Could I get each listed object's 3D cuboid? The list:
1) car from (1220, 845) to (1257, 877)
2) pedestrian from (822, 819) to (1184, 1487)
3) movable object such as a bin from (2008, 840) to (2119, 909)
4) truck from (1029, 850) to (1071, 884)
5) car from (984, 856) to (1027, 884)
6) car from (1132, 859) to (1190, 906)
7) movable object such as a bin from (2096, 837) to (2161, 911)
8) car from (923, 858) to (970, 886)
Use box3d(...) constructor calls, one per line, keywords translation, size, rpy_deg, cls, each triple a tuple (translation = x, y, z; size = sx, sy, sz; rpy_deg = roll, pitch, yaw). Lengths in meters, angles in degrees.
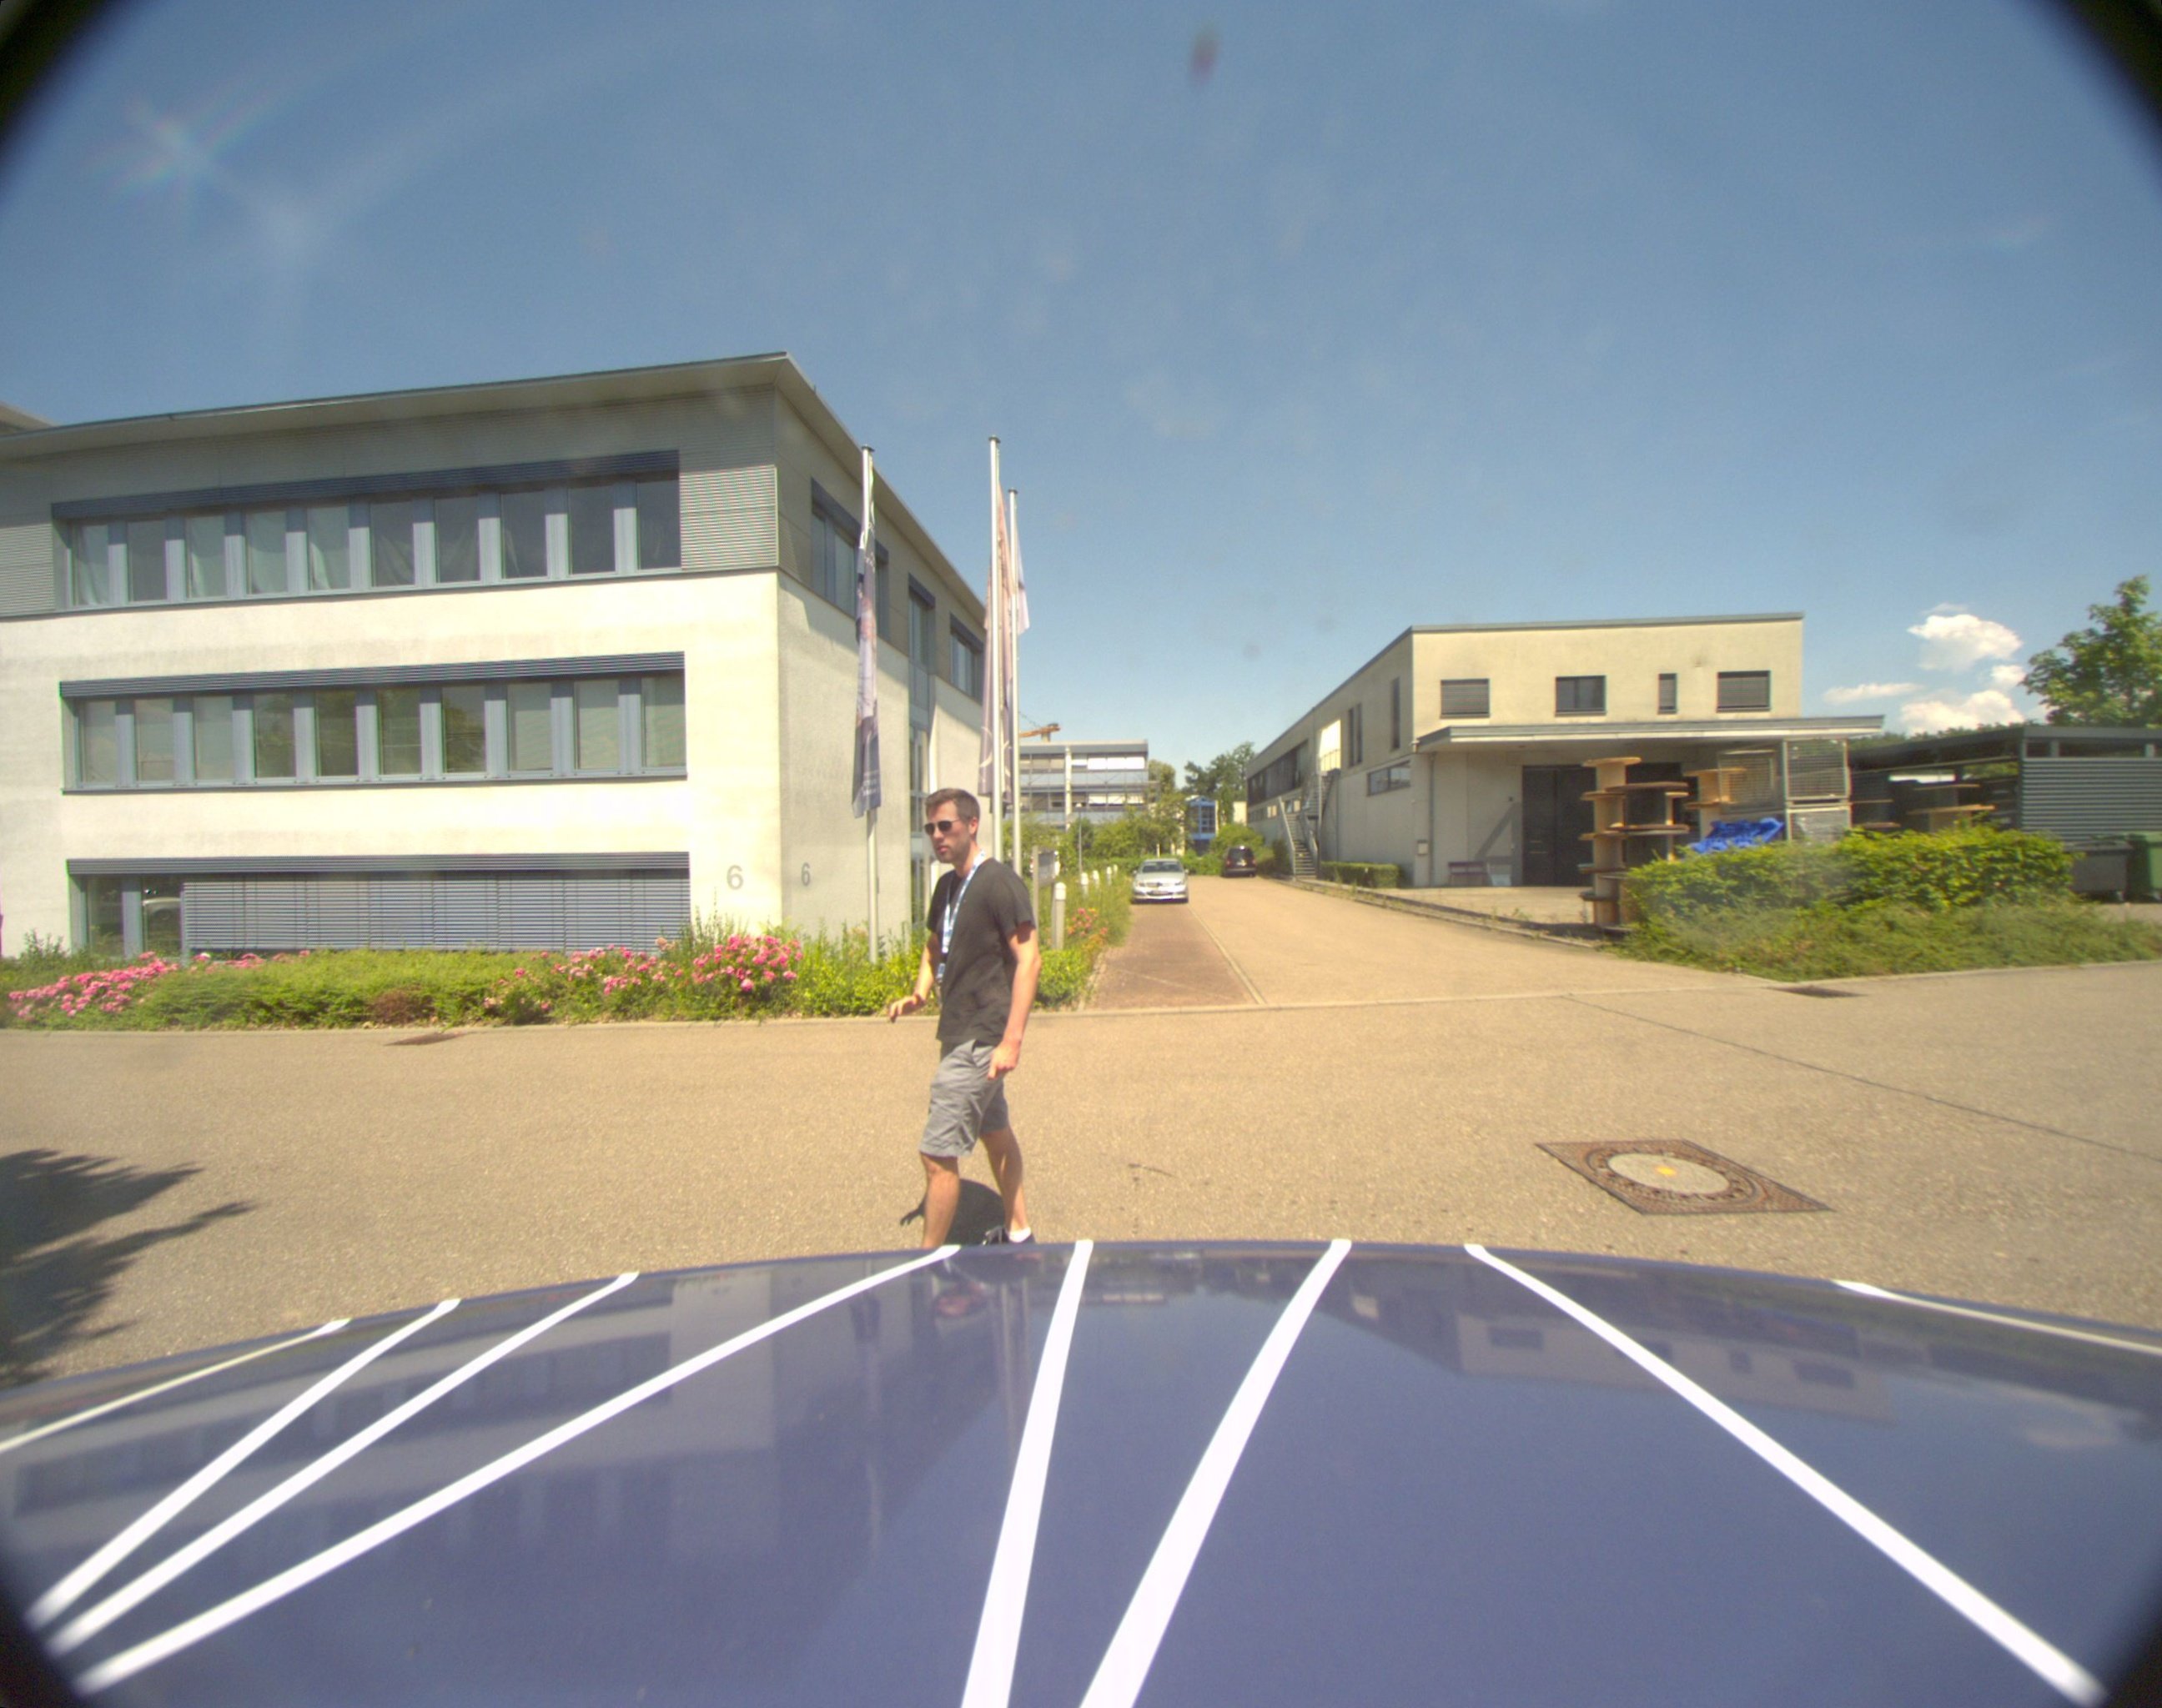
box3d(translation=(9.386, 0.371, 45.440), size=(1.786, 1.793, 4.001), rpy_deg=(-2, 1, 7), cls="car")
box3d(translation=(-0.297, 0.809, 2.659), size=(0.906, 1.809, 0.858), rpy_deg=(-2, 1, -33), cls="pedestrian")
box3d(translation=(18.824, 0.383, 14.581), size=(1.071, 1.264, 0.760), rpy_deg=(-2, 1, 10), cls="movable object such as a bin")
box3d(translation=(-1.793, 0.714, 45.451), size=(1.998, 1.882, 4.001), rpy_deg=(-2, 0, 4), cls="truck")
box3d(translation=(-4.554, 0.927, 46.439), size=(1.787, 1.537, 4.001), rpy_deg=(-2, 1, 5), cls="car")
box3d(translation=(2.738, 0.894, 25.401), size=(1.710, 1.383, 3.813), rpy_deg=(-1, 1, 9), cls="car")
box3d(translation=(20.133, 0.368, 14.253), size=(1.071, 1.329, 0.760), rpy_deg=(-2, 1, 10), cls="movable object such as a bin")
box3d(translation=(-8.215, 1.059, 46.815), size=(1.787, 1.537, 4.001), rpy_deg=(-2, 1, 5), cls="car")
